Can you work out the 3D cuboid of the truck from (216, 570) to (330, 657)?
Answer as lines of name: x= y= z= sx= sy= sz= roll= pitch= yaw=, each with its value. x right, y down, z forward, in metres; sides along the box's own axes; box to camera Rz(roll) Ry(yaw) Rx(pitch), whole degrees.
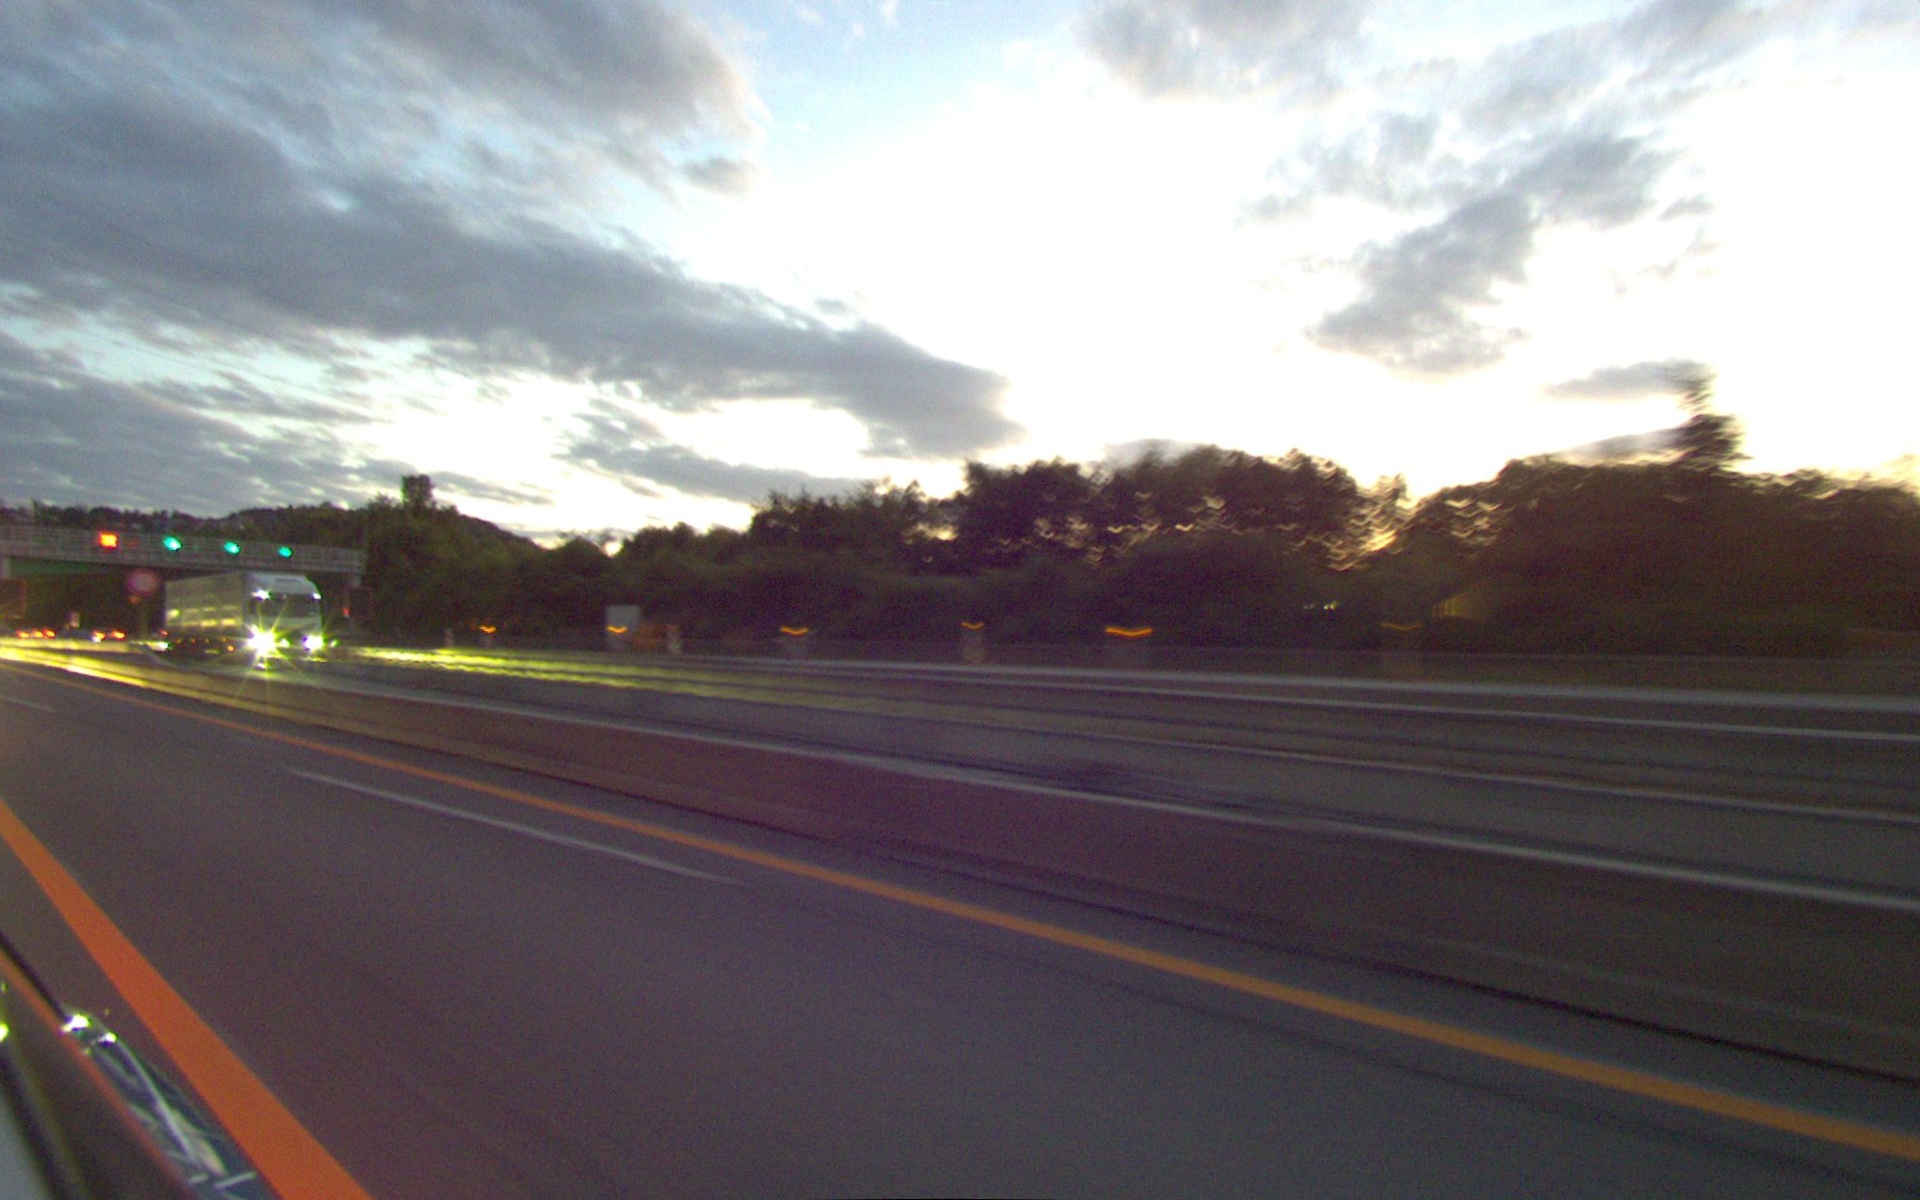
truck: x=-32.049 y=0.624 z=47.126 sx=6.297 sy=3.803 sz=2.774 roll=-1 pitch=-1 yaw=40

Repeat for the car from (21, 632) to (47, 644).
car: x=-111.637 y=4.570 z=121.971 sx=3.925 sy=1.466 sz=1.686 roll=-1 pitch=0 yaw=38

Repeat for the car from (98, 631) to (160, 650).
car: x=-75.290 y=3.670 z=91.736 sx=1.981 sy=1.712 sz=3.980 roll=-1 pitch=-2 yaw=15

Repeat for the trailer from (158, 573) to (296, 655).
trailer: x=-37.900 y=0.749 z=52.076 sx=11.822 sy=3.811 sz=2.771 roll=-1 pitch=-1 yaw=39

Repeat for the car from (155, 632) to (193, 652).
car: x=-71.179 y=3.811 z=91.631 sx=3.940 sy=1.727 sz=1.887 roll=-1 pitch=0 yaw=40

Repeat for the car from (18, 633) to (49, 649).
car: x=-102.517 y=4.489 z=111.961 sx=4.836 sy=1.673 sz=1.812 roll=-1 pitch=0 yaw=39
